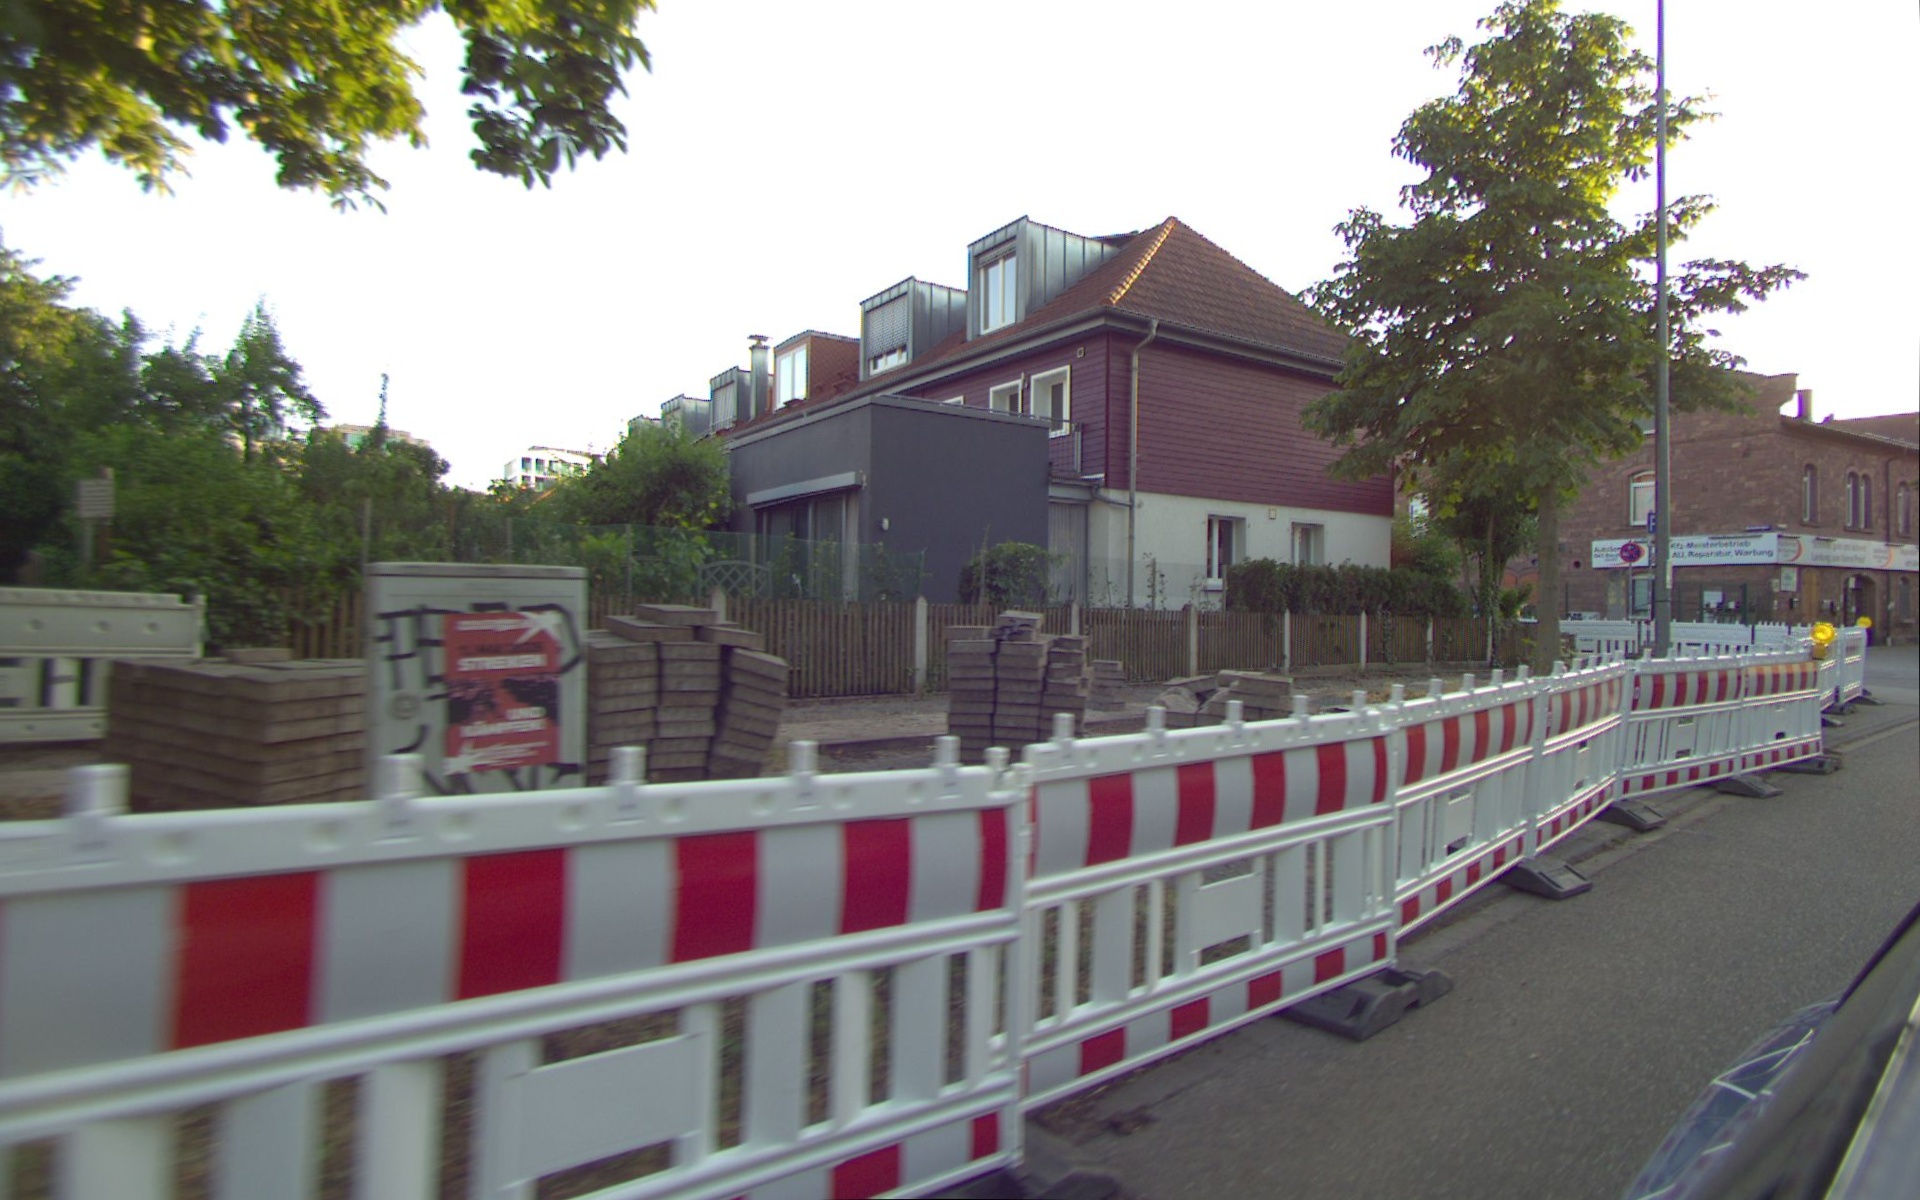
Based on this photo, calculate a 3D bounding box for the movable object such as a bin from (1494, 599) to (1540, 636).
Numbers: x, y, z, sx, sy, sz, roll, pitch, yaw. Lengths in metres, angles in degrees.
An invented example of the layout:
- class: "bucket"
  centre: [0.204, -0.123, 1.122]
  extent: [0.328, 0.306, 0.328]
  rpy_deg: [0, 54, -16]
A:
- class: "movable object such as a bin"
  centre: [22.605, 0.716, 41.076]
  extent: [1.075, 1.462, 1.266]
  rpy_deg: [1, -1, -29]
